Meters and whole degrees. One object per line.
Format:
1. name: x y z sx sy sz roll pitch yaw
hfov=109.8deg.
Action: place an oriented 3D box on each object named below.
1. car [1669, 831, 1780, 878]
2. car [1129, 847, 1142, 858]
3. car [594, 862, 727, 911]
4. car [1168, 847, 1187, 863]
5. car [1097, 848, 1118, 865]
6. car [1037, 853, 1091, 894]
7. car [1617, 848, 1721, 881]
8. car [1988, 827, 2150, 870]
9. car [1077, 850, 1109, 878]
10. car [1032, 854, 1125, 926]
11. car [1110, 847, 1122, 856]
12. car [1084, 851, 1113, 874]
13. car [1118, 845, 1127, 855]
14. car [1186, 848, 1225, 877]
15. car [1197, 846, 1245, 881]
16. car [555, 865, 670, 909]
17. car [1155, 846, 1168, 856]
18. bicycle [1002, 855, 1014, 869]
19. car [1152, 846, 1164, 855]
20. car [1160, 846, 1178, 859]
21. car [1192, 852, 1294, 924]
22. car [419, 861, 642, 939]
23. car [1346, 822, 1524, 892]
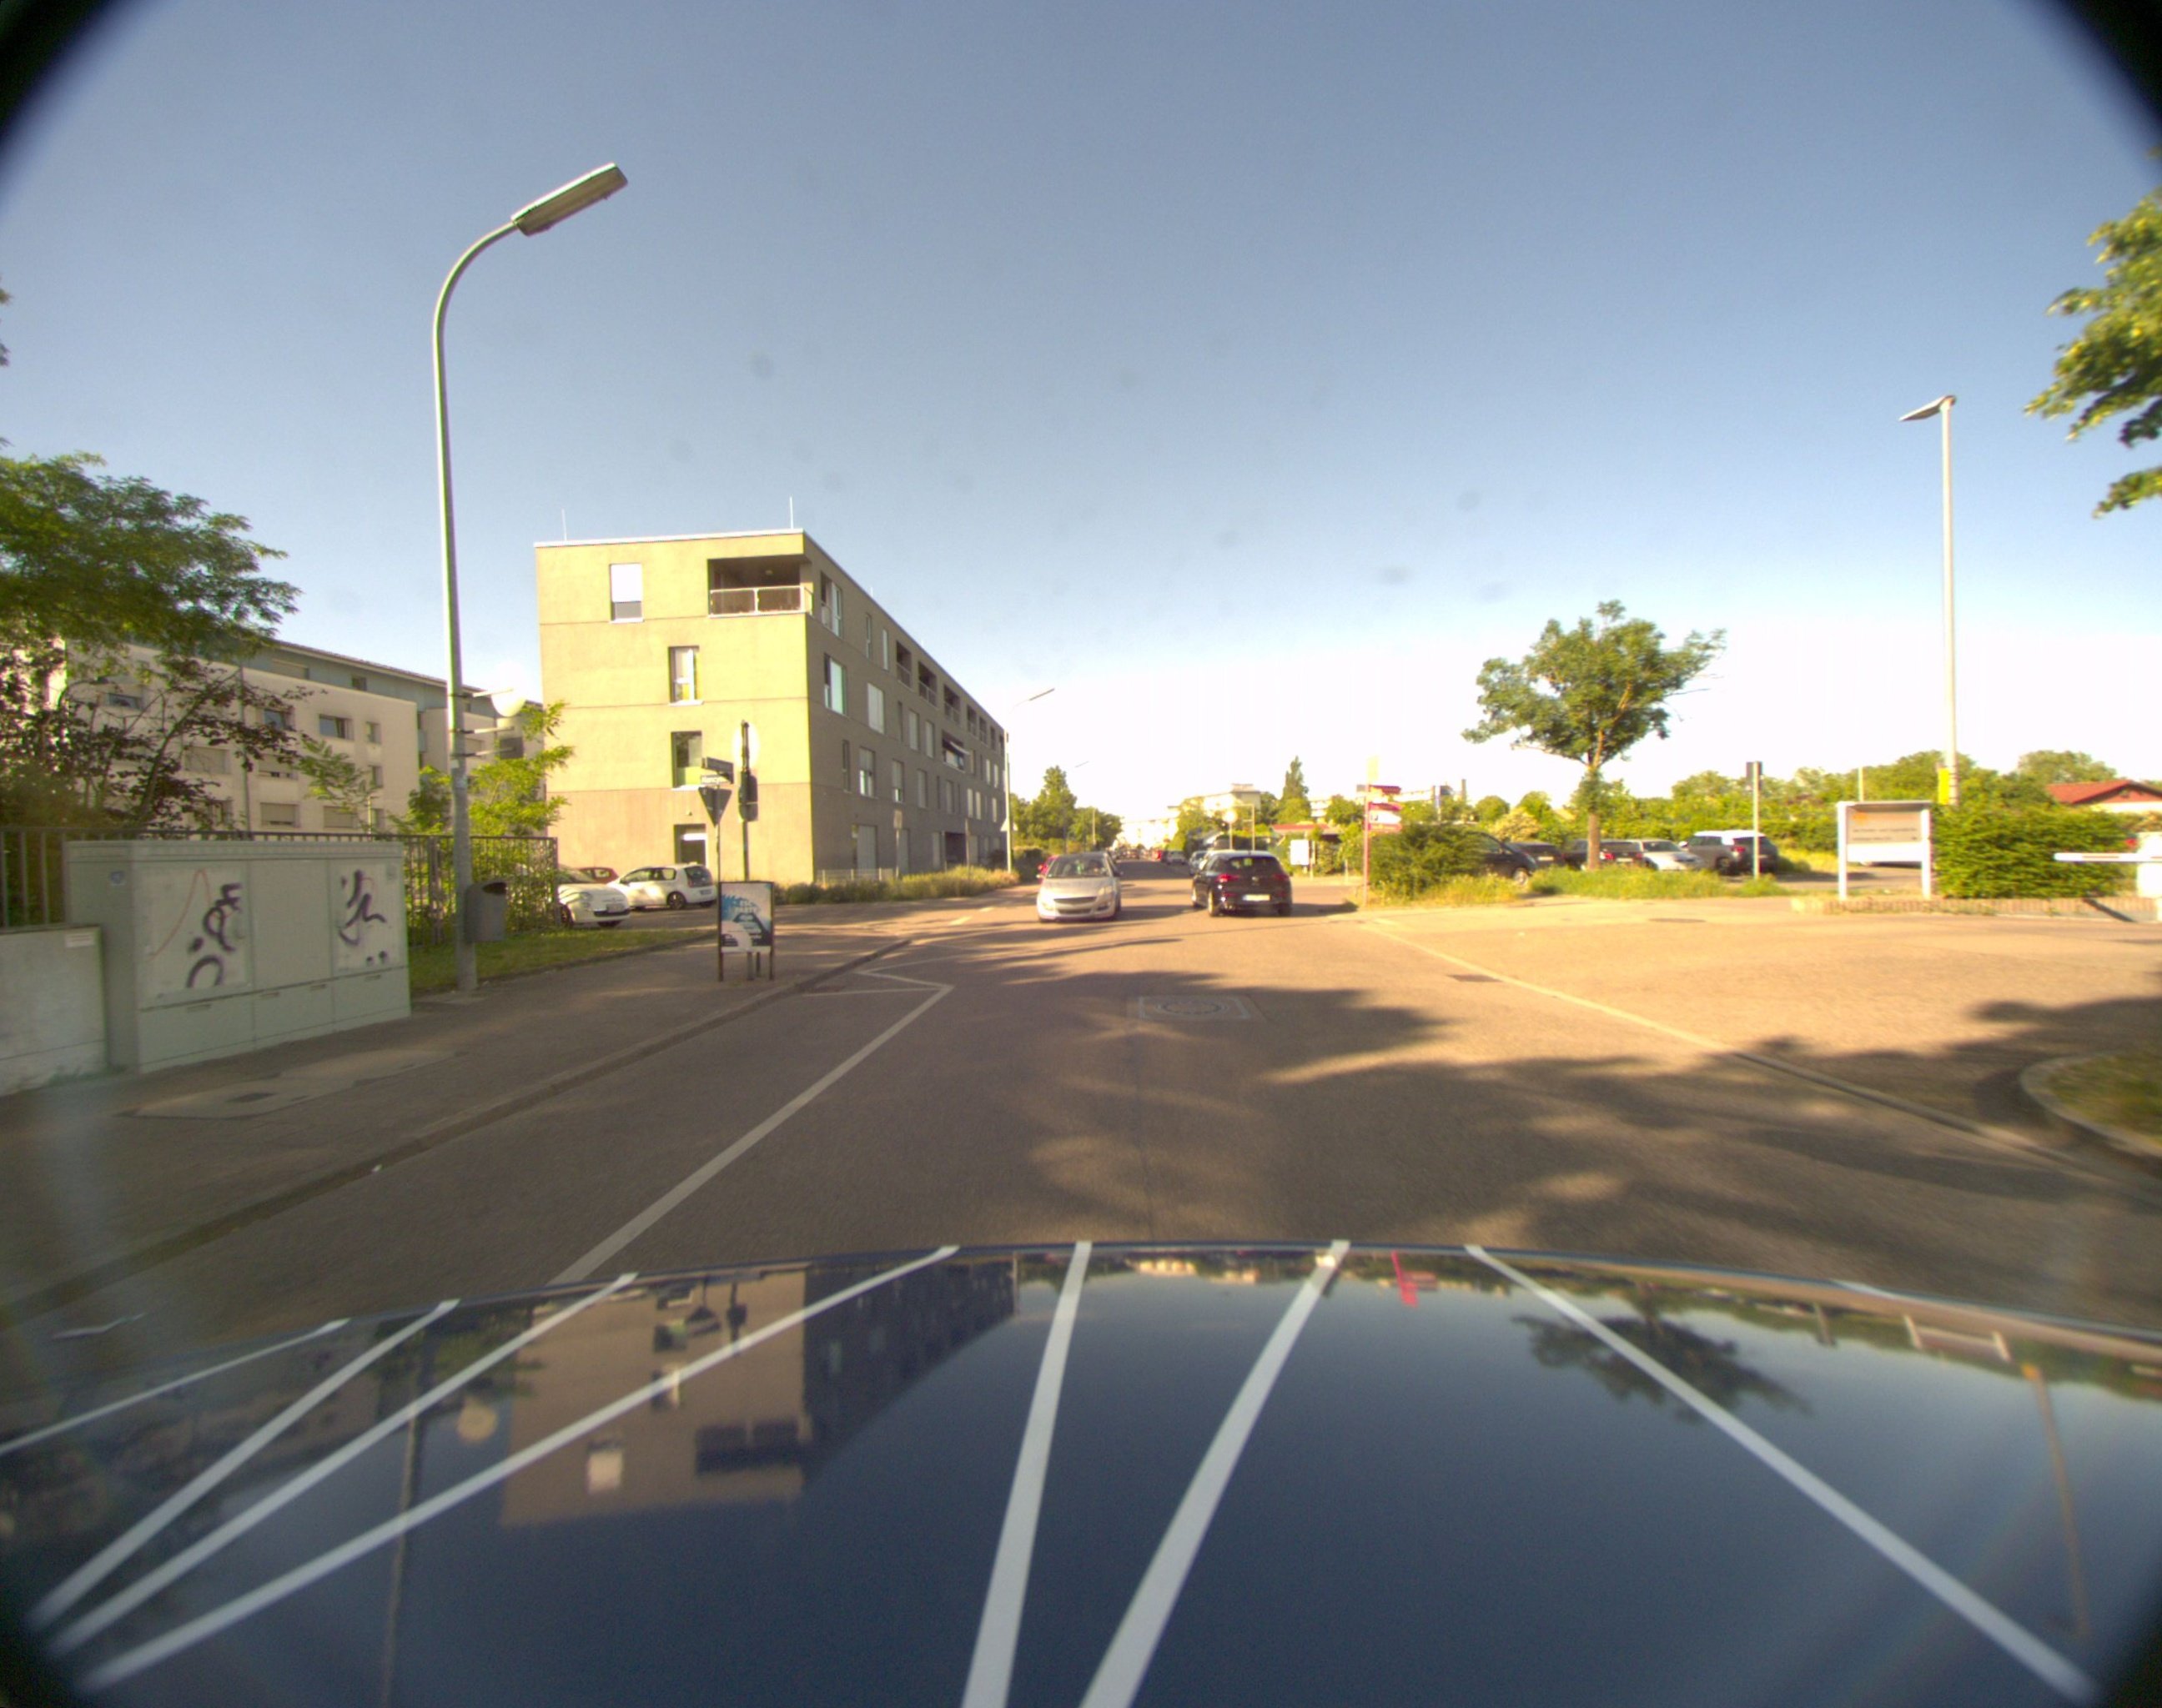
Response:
1. car: 24.867 0.013 29.528 1.508 1.685 3.848 -1 1 9
2. car: 8.502 -0.241 118.337 1.946 1.717 4.840 -1 1 5
3. car: -13.439 1.021 24.374 3.333 1.450 1.715 -1 1 9
4. car: 9.370 0.066 73.832 1.531 1.479 3.402 -2 1 3
5. car: 2.781 0.196 77.999 1.748 1.557 4.804 -3 1 5
6. car: -0.629 0.740 31.320 1.823 1.491 4.452 -2 0 3
7. car: 22.444 0.355 29.163 1.508 1.145 3.848 -1 0 9
8. car: 37.060 -0.219 28.670 1.508 1.476 3.848 -1 0 9
9. car: 0.798 0.577 47.848 1.821 1.590 4.628 -4 0 3
10. car: 0.063 0.738 17.434 1.678 1.440 4.002 -1 0 6
11. car: 5.944 -0.466 128.663 1.873 1.517 4.156 -2 1 4
12. car: 1.303 0.586 53.804 1.749 1.421 4.586 -3 0 4
13. car: 9.043 -0.868 165.753 1.998 2.002 4.001 -1 1 4
14. car: 7.271 0.457 44.626 1.751 1.437 4.542 -4 0 4
15. car: 6.939 0.440 38.011 1.699 1.504 4.518 -4 0 3
16. car: -17.751 1.210 29.016 1.697 1.461 4.001 -1 0 4
17. car: 11.612 -0.425 109.655 1.699 1.421 4.386 -1 1 3
18. bicycle: -5.967 0.649 62.278 0.553 1.055 1.843 -2 1 8
19. car: 12.093 -0.502 119.613 1.699 1.361 3.911 -1 1 3
20. car: 10.544 -0.252 91.277 1.699 1.415 4.517 -4 0 3
21. car: 3.632 0.703 17.689 1.707 1.443 4.086 -1 1 3
22. car: -11.482 0.935 15.977 3.554 1.477 1.601 -1 1 5
23. car: 11.596 0.071 24.904 5.258 1.856 1.959 -4 0 -18
